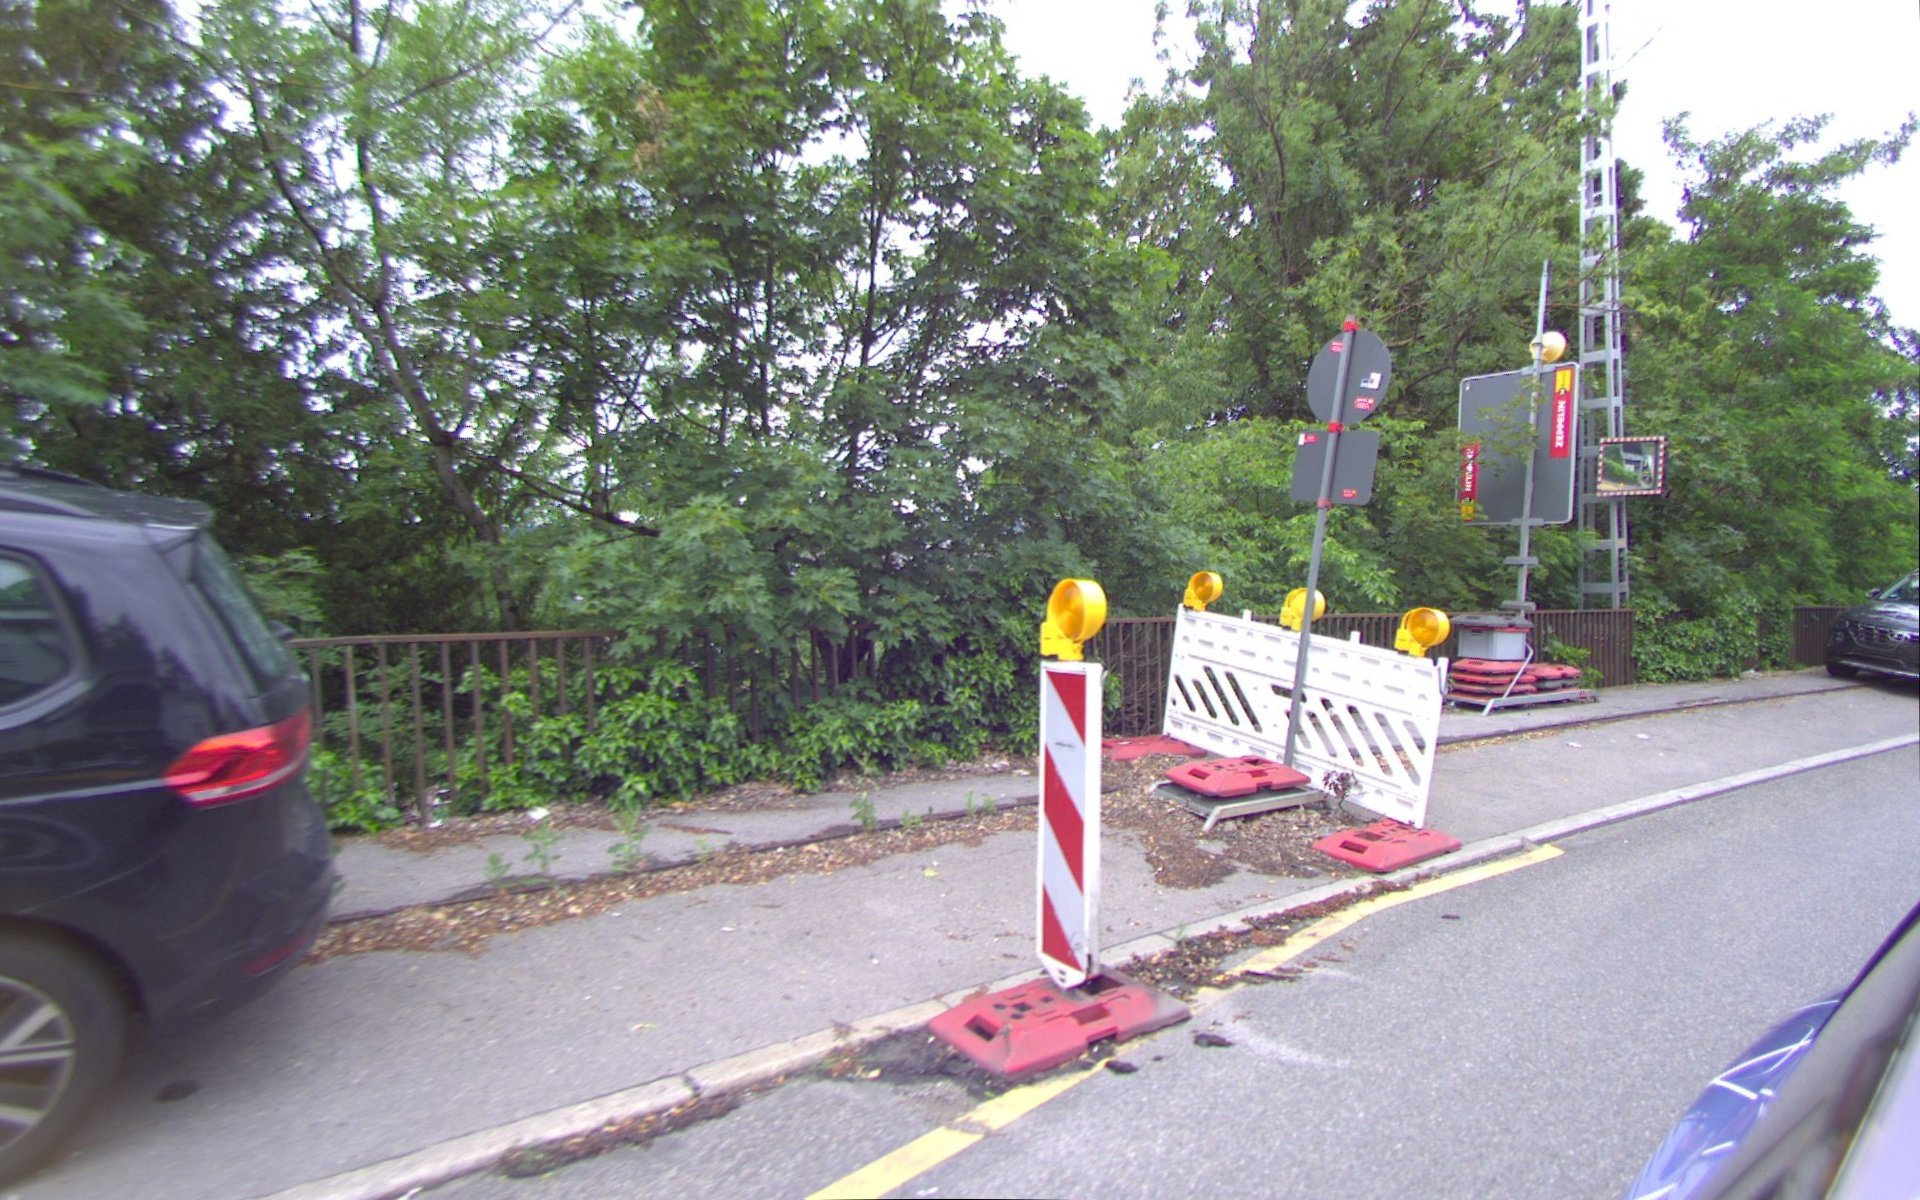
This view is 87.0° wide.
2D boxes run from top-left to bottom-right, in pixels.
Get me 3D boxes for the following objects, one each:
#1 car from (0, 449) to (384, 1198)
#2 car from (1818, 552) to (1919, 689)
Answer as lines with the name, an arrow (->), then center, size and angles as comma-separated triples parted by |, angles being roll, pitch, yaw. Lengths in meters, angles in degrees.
car -> -3.890, 0.436, 1.947 | 4.565, 1.693, 1.867 | -1, 6, -41
car -> 14.268, 0.288, 14.200 | 4.192, 1.693, 1.864 | 0, 7, -29
